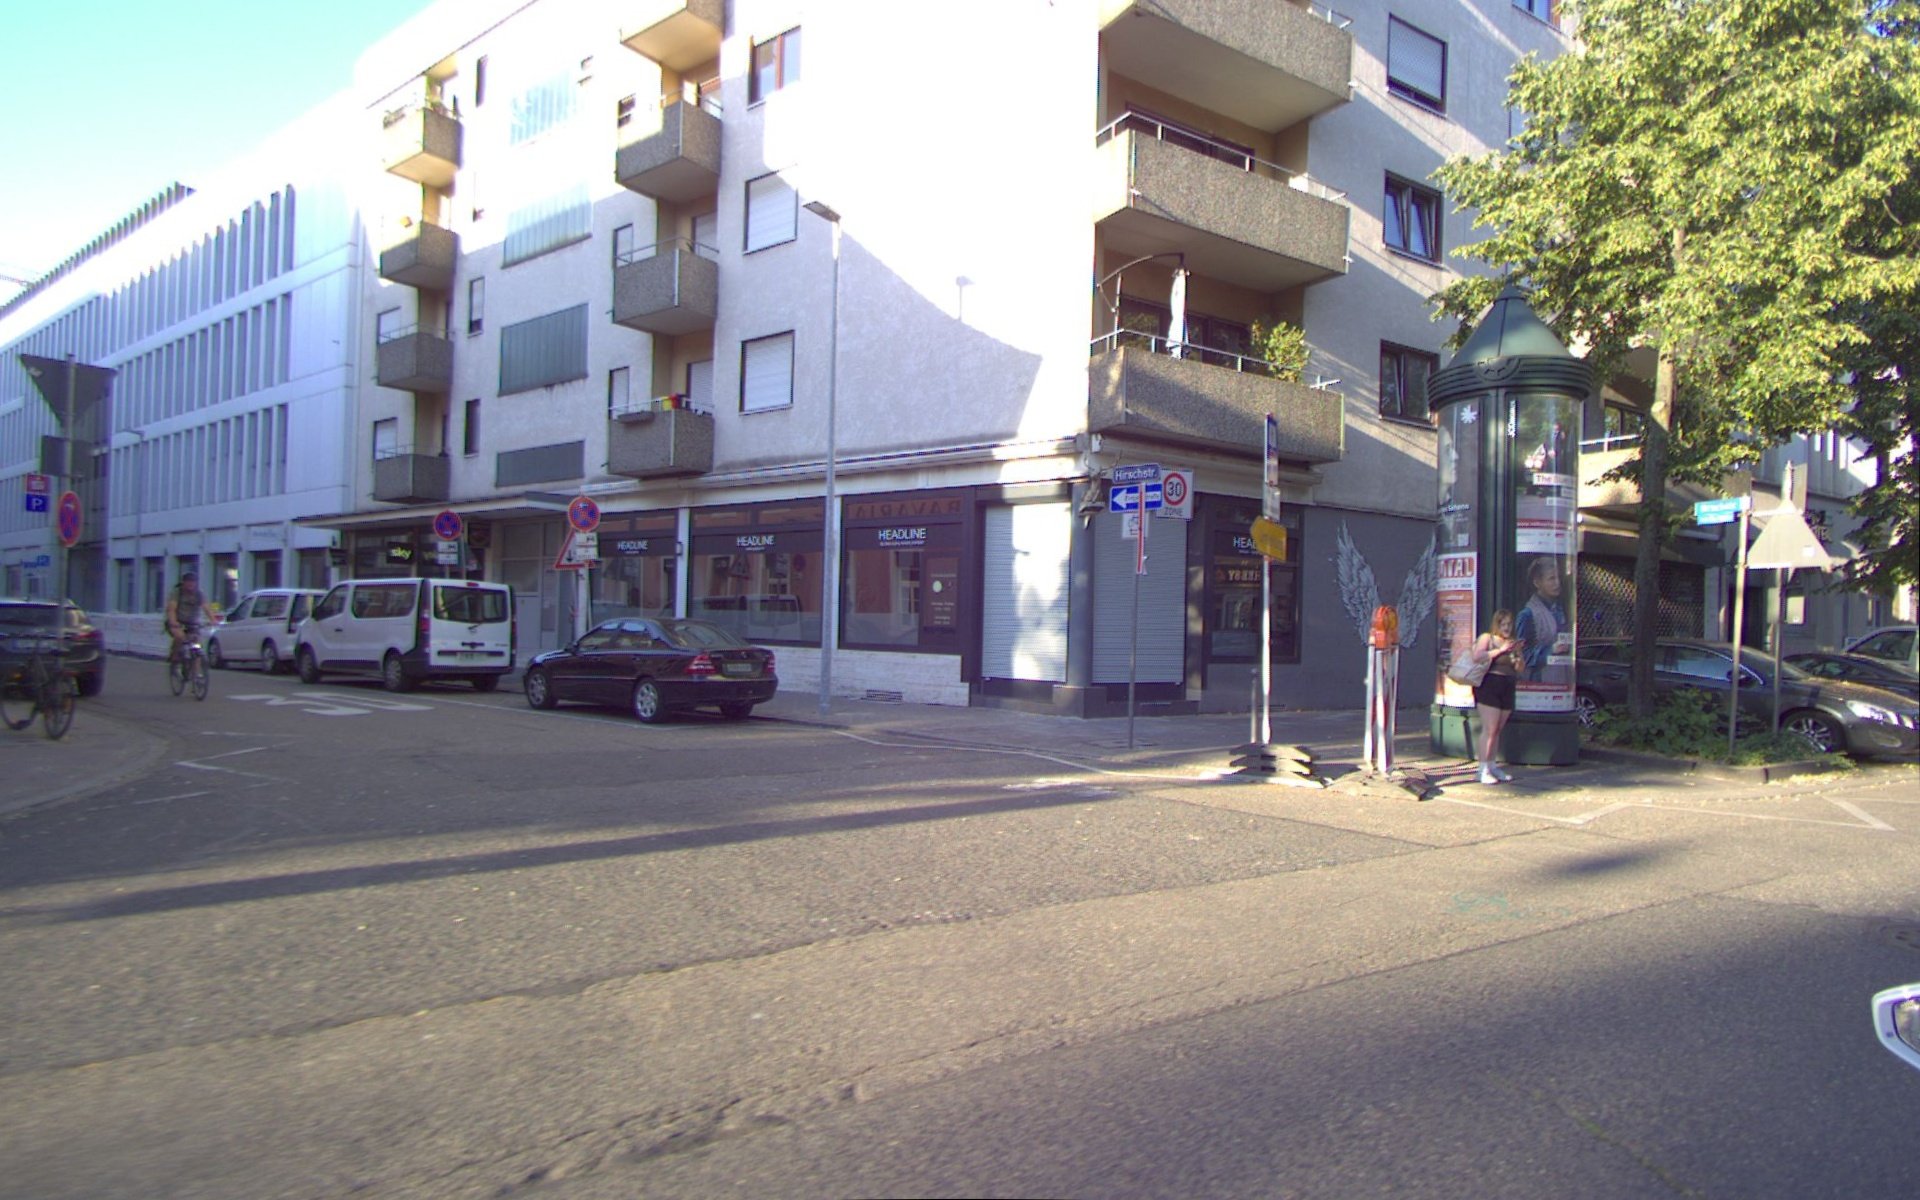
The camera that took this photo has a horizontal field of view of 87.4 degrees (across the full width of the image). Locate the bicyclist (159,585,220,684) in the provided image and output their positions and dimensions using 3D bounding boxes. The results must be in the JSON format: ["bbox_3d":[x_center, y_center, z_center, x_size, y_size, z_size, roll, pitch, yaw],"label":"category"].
[{"bbox_3d":[-11.873,0.519,15.476,0.732,1.477,0.583,1,0,38],"label":"bicyclist"}]

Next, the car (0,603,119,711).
[{"bbox_3d":[-14.883,0.796,15.531,4.457,1.490,1.990,0,-1,38],"label":"car"}]

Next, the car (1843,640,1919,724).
[{"bbox_3d":[21.778,1.814,21.002,2.035,1.720,4.552,2,-1,-29],"label":"car"}]

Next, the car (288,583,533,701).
[{"bbox_3d":[-10.326,0.740,18.811,4.451,1.971,2.066,1,-3,33],"label":"car"}]

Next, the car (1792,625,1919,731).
[{"bbox_3d":[19.483,1.561,19.642,1.967,1.987,4.550,2,-1,-30],"label":"car"}]

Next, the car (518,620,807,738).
[{"bbox_3d":[-4.420,1.056,14.713,4.142,1.398,1.992,0,-2,38],"label":"car"}]

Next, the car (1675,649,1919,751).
[{"bbox_3d":[15.063,1.678,17.454,2.017,1.410,3.778,3,-1,-26],"label":"car"}]

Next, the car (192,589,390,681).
[{"bbox_3d":[-15.229,0.773,22.830,4.451,1.891,2.066,1,-3,33],"label":"car"}]

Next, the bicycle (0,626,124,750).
[{"bbox_3d":[-10.002,0.920,10.965,1.906,1.208,0.585,1,-2,27],"label":"bicycle"}]

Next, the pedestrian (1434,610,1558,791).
[{"bbox_3d":[5.316,0.964,9.979,0.821,1.708,0.709,2,-1,-21],"label":"pedestrian"}]

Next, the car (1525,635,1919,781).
[{"bbox_3d":[10.759,1.372,14.214,1.790,1.562,4.524,2,-1,-30],"label":"car"}]

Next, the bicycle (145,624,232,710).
[{"bbox_3d":[-11.932,0.992,15.512,2.092,1.209,0.583,0,0,39],"label":"bicycle"}]

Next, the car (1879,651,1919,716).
[{"bbox_3d":[23.871,2.013,22.565,1.758,1.486,4.423,2,-1,-29],"label":"car"}]
